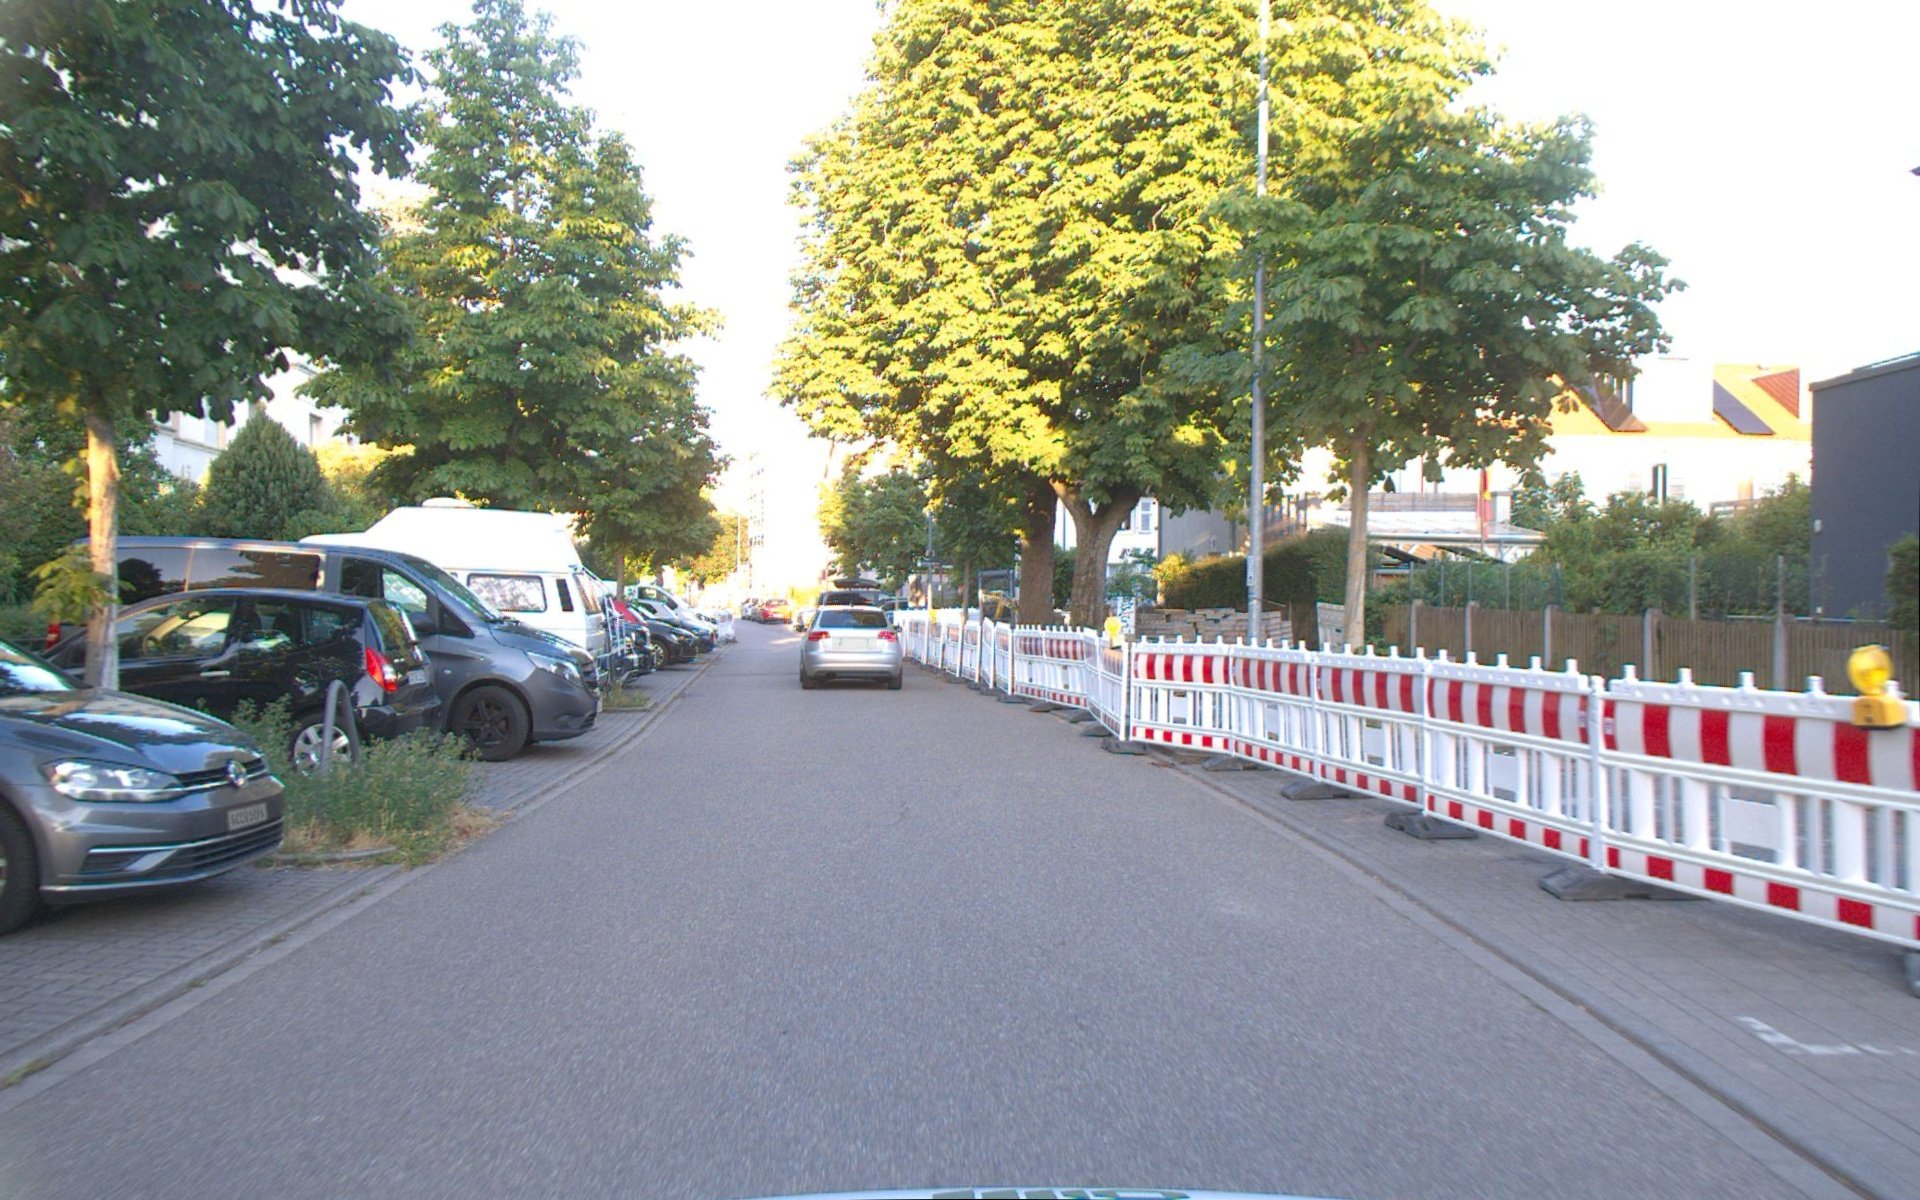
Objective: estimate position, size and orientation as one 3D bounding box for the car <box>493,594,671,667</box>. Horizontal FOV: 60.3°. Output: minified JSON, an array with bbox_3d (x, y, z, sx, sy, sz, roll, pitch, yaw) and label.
[{"bbox_3d":[-8.688,0.695,38.246,3.916,1.606,1.796,1,0,-12],"label":"car"}]

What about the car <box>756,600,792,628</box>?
[{"bbox_3d":[-10.561,0.789,93.788,1.700,1.509,3.547,1,0,-12],"label":"car"}]

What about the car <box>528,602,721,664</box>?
[{"bbox_3d":[-8.539,0.849,42.456,4.682,1.496,1.878,1,-1,-8],"label":"car"}]

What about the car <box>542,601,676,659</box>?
[{"bbox_3d":[-9.503,0.814,44.968,3.348,1.510,1.756,1,0,-6],"label":"car"}]

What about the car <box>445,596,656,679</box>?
[{"bbox_3d":[-8.186,0.742,33.361,3.911,1.611,1.728,1,0,-7],"label":"car"}]

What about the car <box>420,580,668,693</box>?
[{"bbox_3d":[-6.980,0.600,28.079,3.784,1.808,1.842,1,0,-4],"label":"car"}]

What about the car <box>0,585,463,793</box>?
[{"bbox_3d":[-5.958,0.652,12.866,3.694,1.464,1.654,1,0,-4],"label":"car"}]

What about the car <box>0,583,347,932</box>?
[{"bbox_3d":[-5.251,0.614,7.657,4.157,1.418,1.684,1,0,0],"label":"car"}]

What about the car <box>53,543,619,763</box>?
[{"bbox_3d":[-5.677,0.482,15.598,4.583,1.906,1.998,1,0,-6],"label":"car"}]

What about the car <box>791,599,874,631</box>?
[{"bbox_3d":[-6.700,0.794,86.804,4.085,1.599,1.788,1,0,-18],"label":"car"}]

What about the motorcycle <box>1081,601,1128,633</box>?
[{"bbox_3d":[5.162,0.599,59.058,1.830,1.125,0.572,1,0,-41],"label":"motorcycle"}]

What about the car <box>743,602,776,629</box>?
[{"bbox_3d":[-12.682,0.986,104.361,1.777,1.641,3.570,1,0,-12],"label":"car"}]

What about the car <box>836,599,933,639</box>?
[{"bbox_3d":[-3.314,0.820,72.317,3.925,1.680,1.756,1,0,-18],"label":"car"}]

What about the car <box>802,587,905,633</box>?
[{"bbox_3d":[-4.970,0.449,77.115,4.482,2.058,2.092,1,0,-16],"label":"car"}]

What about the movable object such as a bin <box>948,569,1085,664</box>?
[{"bbox_3d":[1.459,0.434,45.733,2.582,2.445,5.181,1,0,-12],"label":"movable object such as a bin"}]

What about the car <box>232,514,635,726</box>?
[{"bbox_3d":[-6.421,0.246,20.635,4.415,2.473,1.998,1,0,-5],"label":"car"}]

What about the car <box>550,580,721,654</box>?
[{"bbox_3d":[-9.270,0.482,47.538,4.682,2.049,1.996,1,0,-8],"label":"car"}]

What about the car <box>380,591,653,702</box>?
[{"bbox_3d":[-6.781,0.694,25.617,3.784,1.623,1.784,1,0,-4],"label":"car"}]

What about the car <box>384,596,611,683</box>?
[{"bbox_3d":[-8.610,0.724,31.081,3.914,1.551,1.785,1,0,-10],"label":"car"}]

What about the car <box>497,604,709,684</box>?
[{"bbox_3d":[-7.623,0.929,35.576,4.328,1.643,1.895,1,0,-12],"label":"car"}]

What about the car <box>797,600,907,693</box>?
[{"bbox_3d":[-1.985,0.767,29.362,1.773,1.514,3.994,0,0,-7],"label":"car"}]
